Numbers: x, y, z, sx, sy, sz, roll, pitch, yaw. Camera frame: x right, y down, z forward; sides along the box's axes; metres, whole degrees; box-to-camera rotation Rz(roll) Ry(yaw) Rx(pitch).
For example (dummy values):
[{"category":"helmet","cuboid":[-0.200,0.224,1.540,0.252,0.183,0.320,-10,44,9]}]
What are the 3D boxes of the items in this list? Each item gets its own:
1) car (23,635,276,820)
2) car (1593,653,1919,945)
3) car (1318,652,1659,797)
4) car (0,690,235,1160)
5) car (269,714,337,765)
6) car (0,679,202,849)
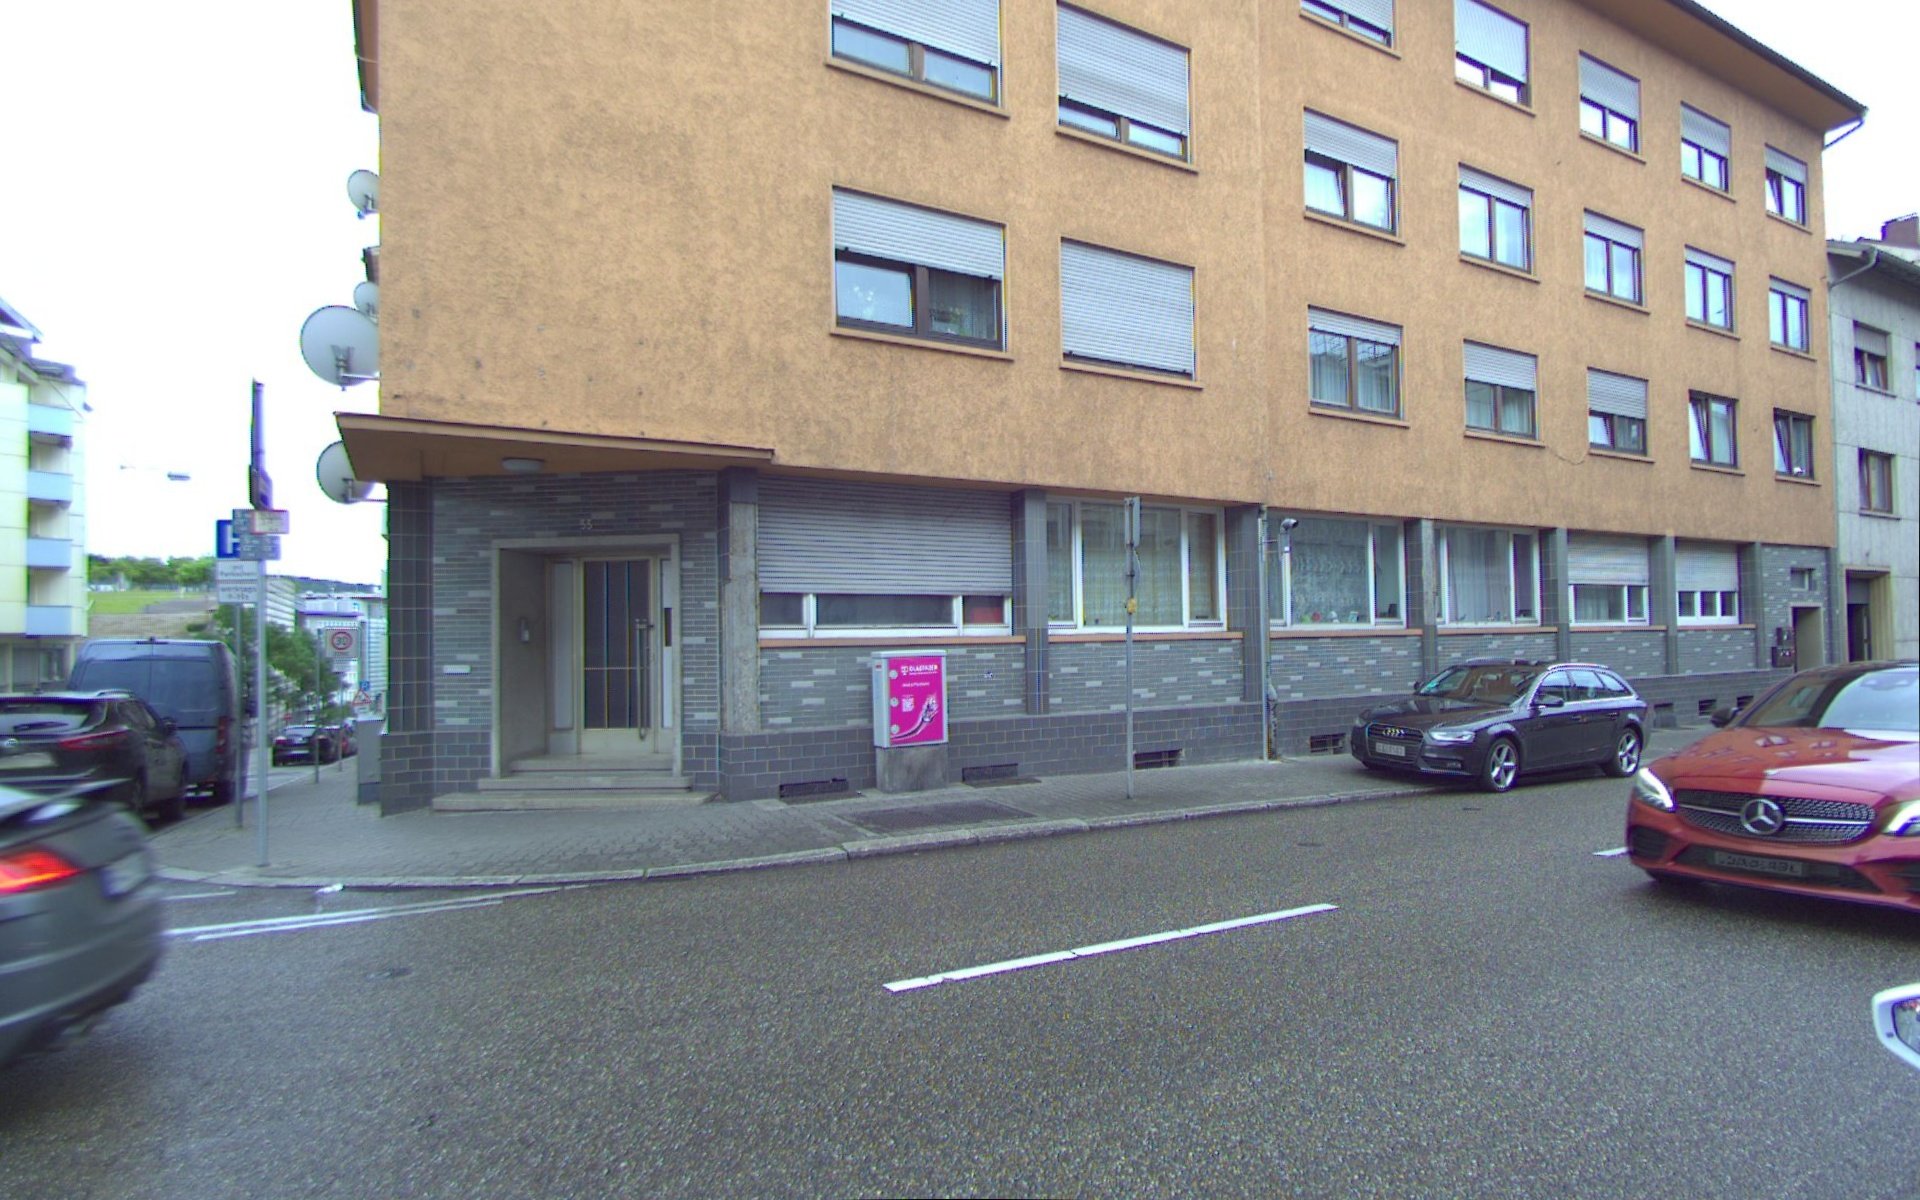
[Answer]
[{"category":"car","cuboid":[-13.184,2.082,16.855,2.223,2.492,6.017,1,-7,-29]},{"category":"car","cuboid":[6.183,1.051,6.515,4.288,1.408,1.717,1,-4,-30]},{"category":"car","cuboid":[6.806,1.448,12.813,4.475,1.457,1.786,1,0,-31]},{"category":"car","cuboid":[-4.652,1.009,2.964,3.842,1.363,1.760,1,-6,-29]},{"category":"car","cuboid":[-24.343,5.172,37.341,1.796,1.696,4.026,1,-7,-29]},{"category":"car","cuboid":[-10.147,1.828,11.424,1.820,1.596,4.127,1,-8,-29]}]
